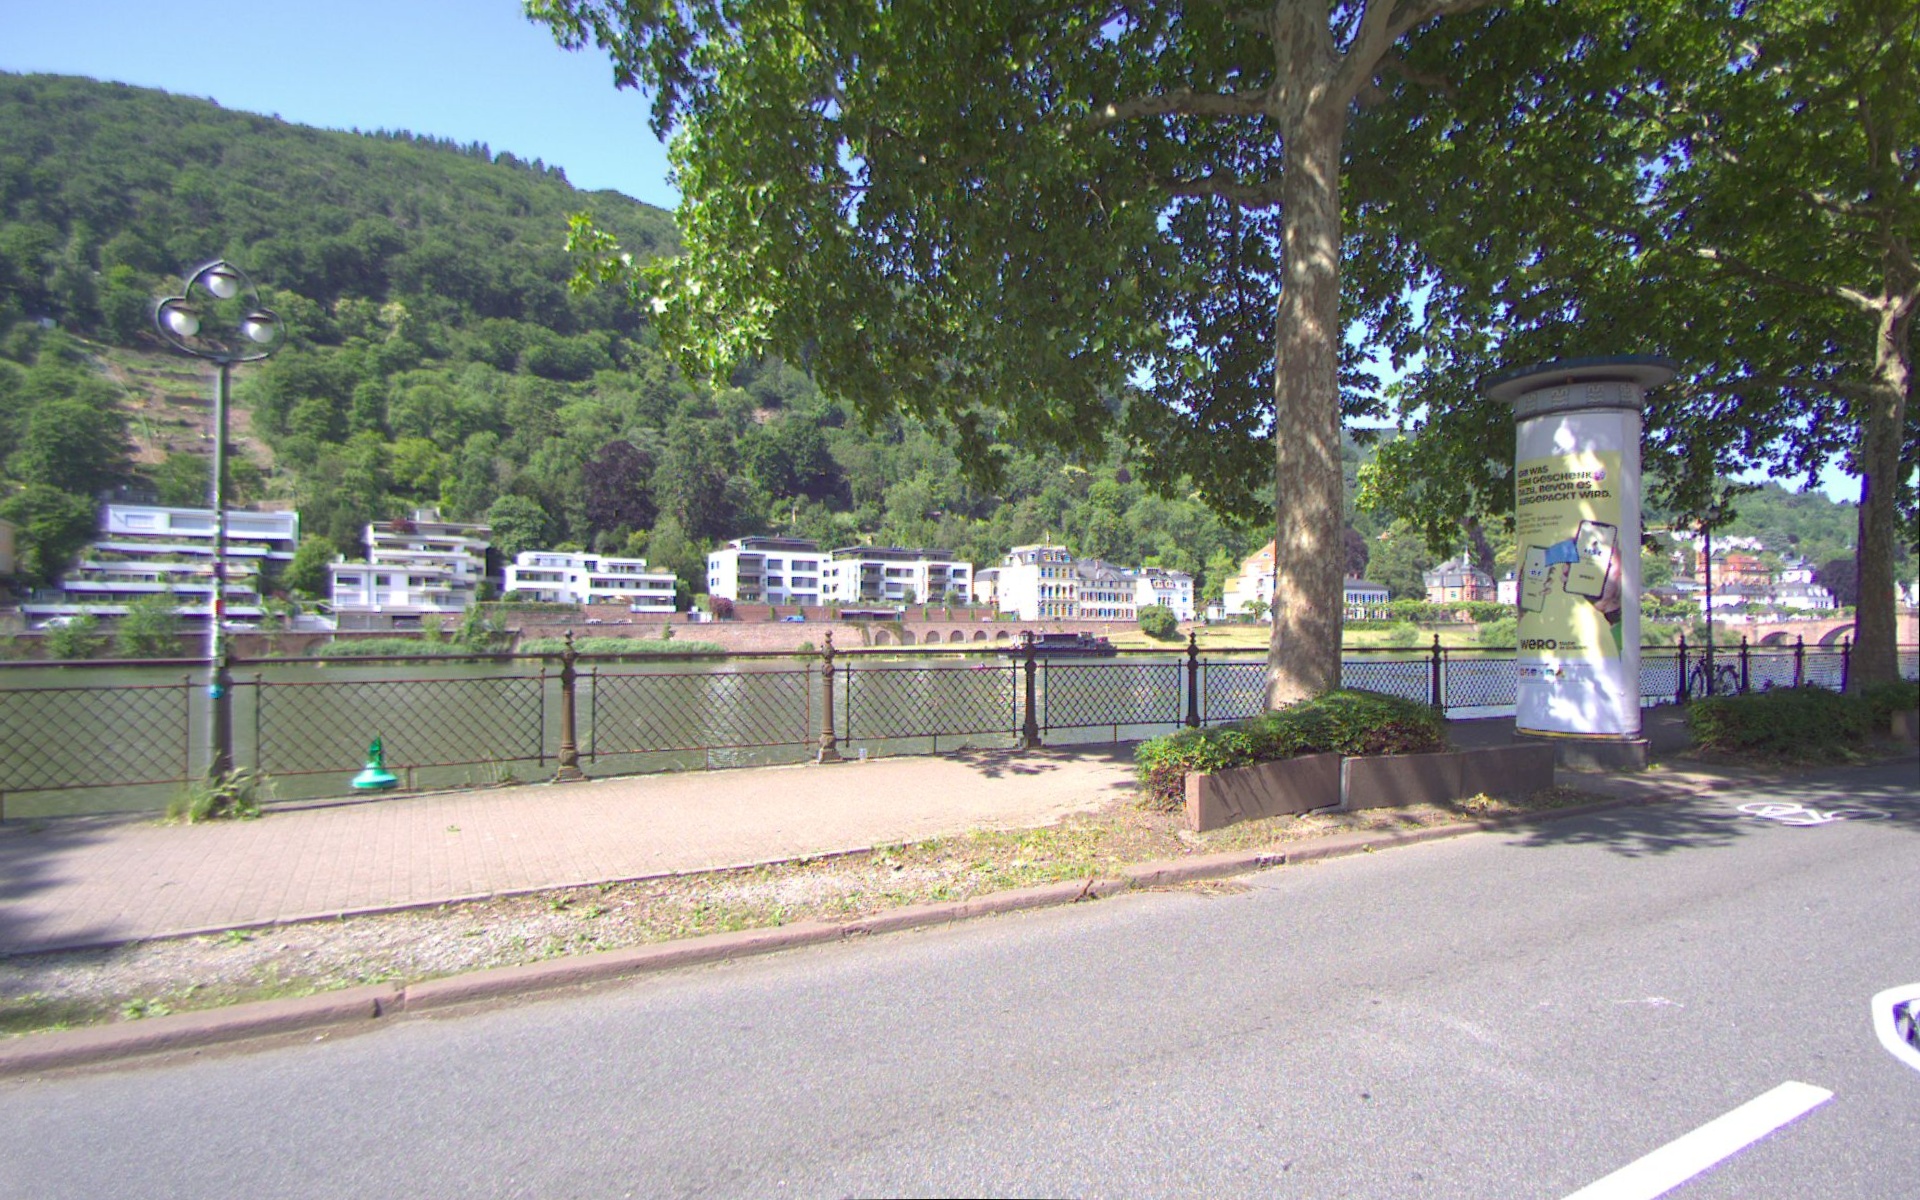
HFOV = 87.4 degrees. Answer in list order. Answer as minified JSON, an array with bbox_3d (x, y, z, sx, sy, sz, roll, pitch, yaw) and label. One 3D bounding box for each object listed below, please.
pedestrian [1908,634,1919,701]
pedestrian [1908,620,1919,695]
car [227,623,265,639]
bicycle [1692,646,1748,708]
[{"bbox_3d":[20.040,1.399,20.773,0.411,1.380,0.477,1,-2,-26],"label":"pedestrian"},{"bbox_3d":[22.384,1.322,23.163,0.577,1.708,0.598,1,-2,-31],"label":"pedestrian"},{"bbox_3d":[-96.735,4.268,136.110,3.953,2.040,1.984,2,0,-30],"label":"car"},{"bbox_3d":[14.360,1.441,18.968,1.281,1.106,0.357,1,2,-31],"label":"bicycle"}]
